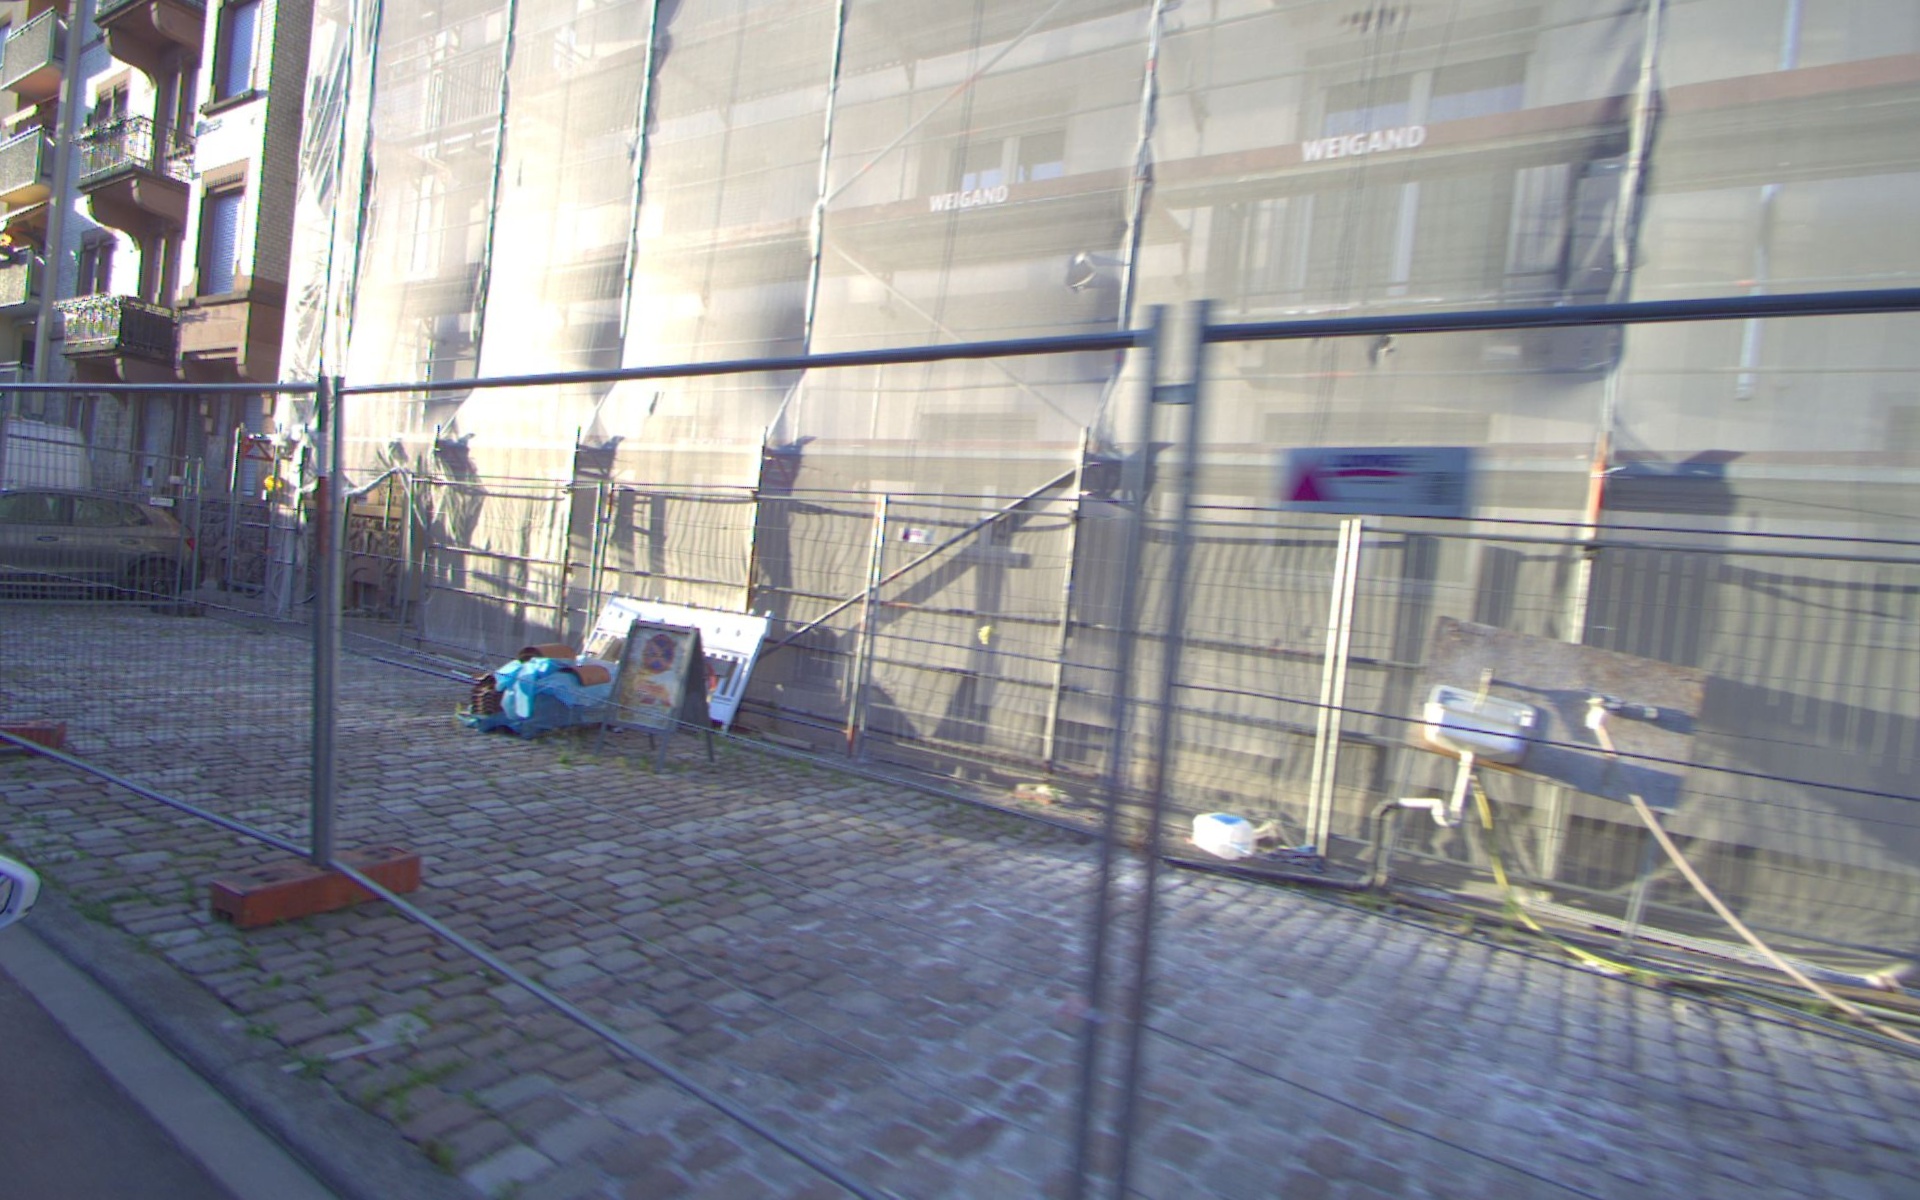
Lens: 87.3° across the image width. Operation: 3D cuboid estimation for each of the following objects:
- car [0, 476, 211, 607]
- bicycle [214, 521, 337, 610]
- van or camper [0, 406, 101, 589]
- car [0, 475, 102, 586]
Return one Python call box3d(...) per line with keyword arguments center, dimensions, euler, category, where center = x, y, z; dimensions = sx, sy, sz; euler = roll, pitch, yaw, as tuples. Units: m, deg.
box3d(center=(-12.201, -0.798, 12.634), dimensions=(1.984, 1.536, 3.990), euler=(7, 2, 28), category="car")
box3d(center=(-10.862, -0.555, 15.944), dimensions=(1.999, 1.183, 0.632), euler=(7, 0, 27), category="bicycle")
box3d(center=(-17.127, -1.931, 15.072), dimensions=(2.074, 2.803, 5.938), euler=(7, -1, 31), category="van or camper")
box3d(center=(-14.595, -1.072, 13.810), dimensions=(1.758, 1.505, 3.933), euler=(5, 1, 33), category="car")
